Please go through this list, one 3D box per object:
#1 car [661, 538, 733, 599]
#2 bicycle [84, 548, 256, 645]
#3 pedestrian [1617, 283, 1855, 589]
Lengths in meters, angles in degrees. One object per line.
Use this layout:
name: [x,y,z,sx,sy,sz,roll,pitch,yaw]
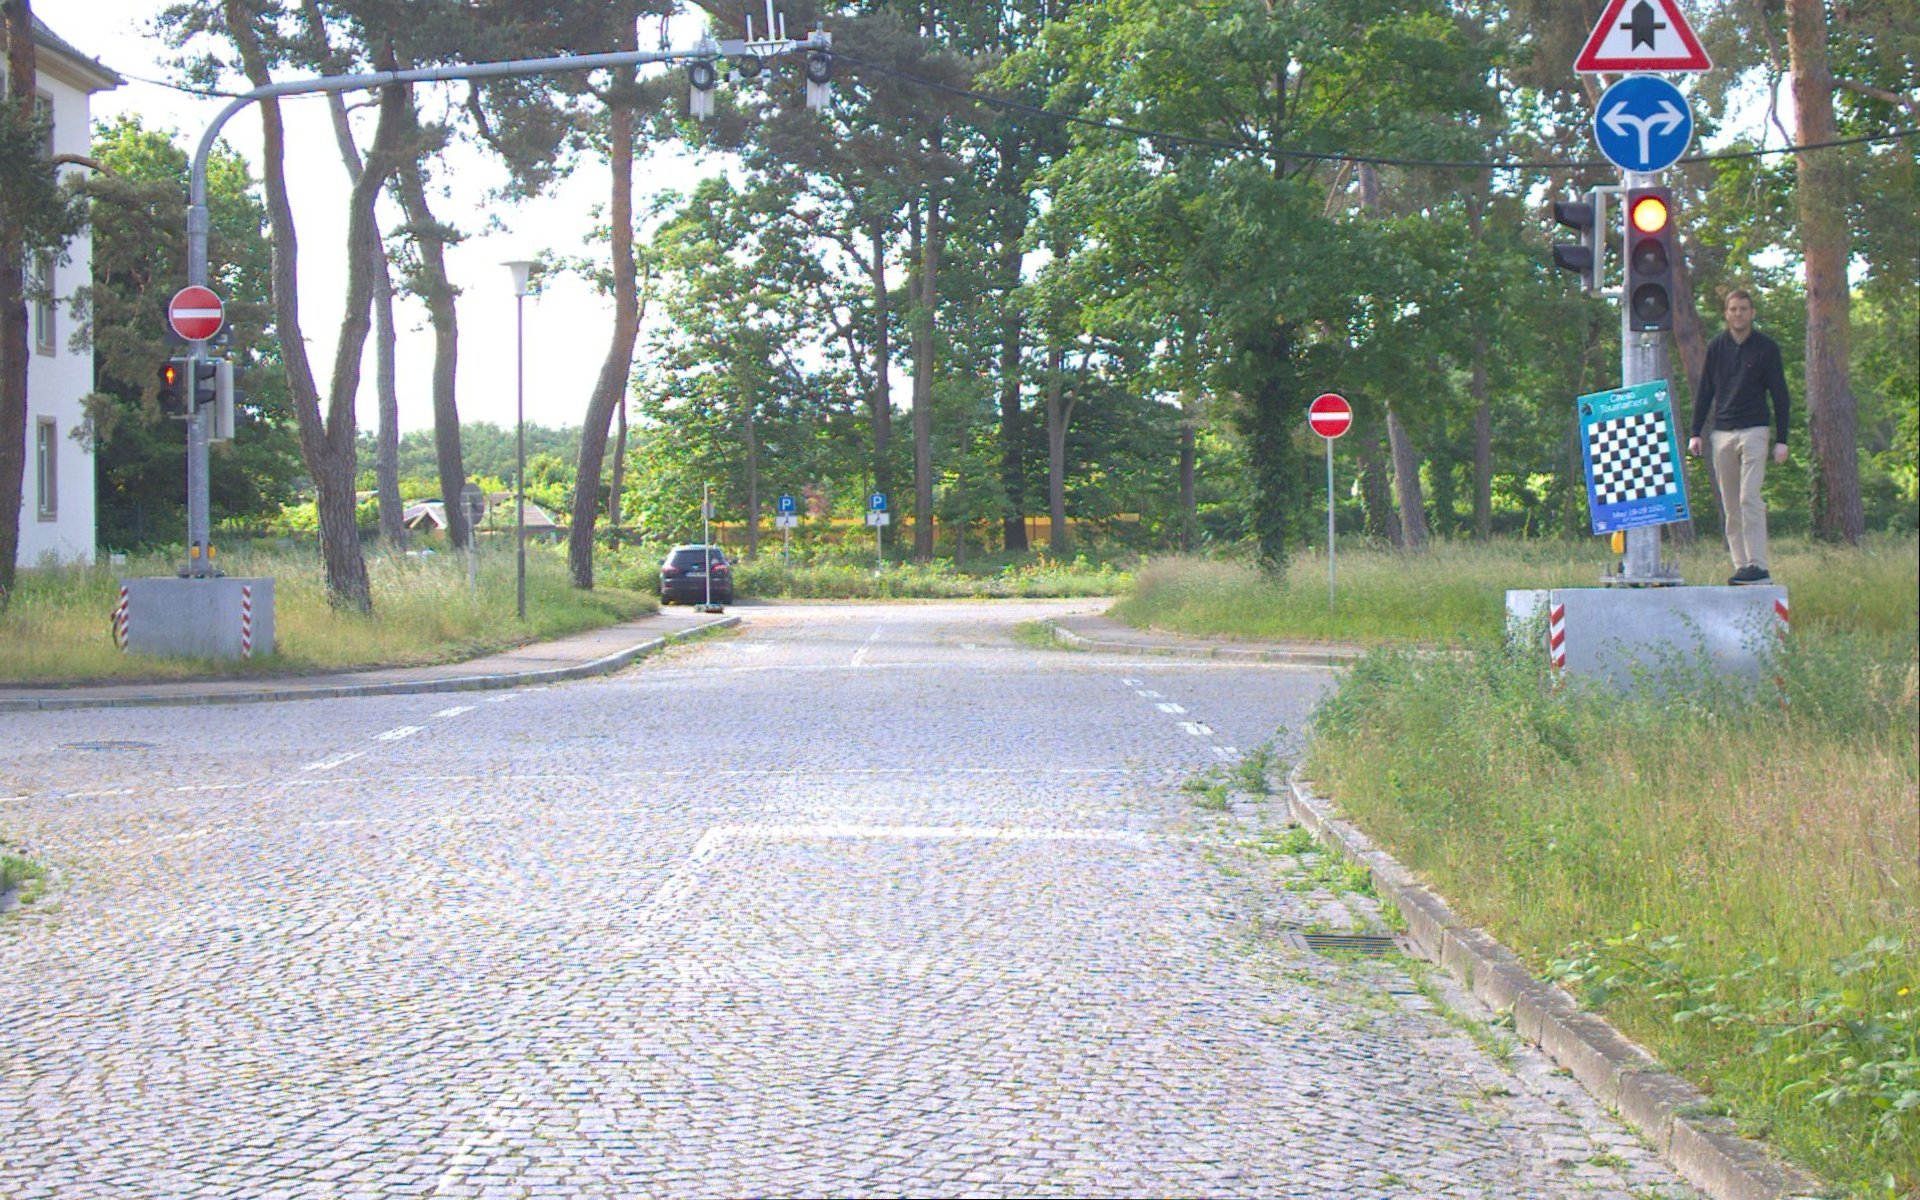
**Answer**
car: [-6.769,-0.830,88.721,1.709,1.491,3.919,-1,1,-3]
bicycle: [-9.023,-0.056,39.329,0.634,1.062,1.946,0,1,38]
pedestrian: [4.751,-0.984,21.004,1.170,1.790,1.061,-1,1,27]
